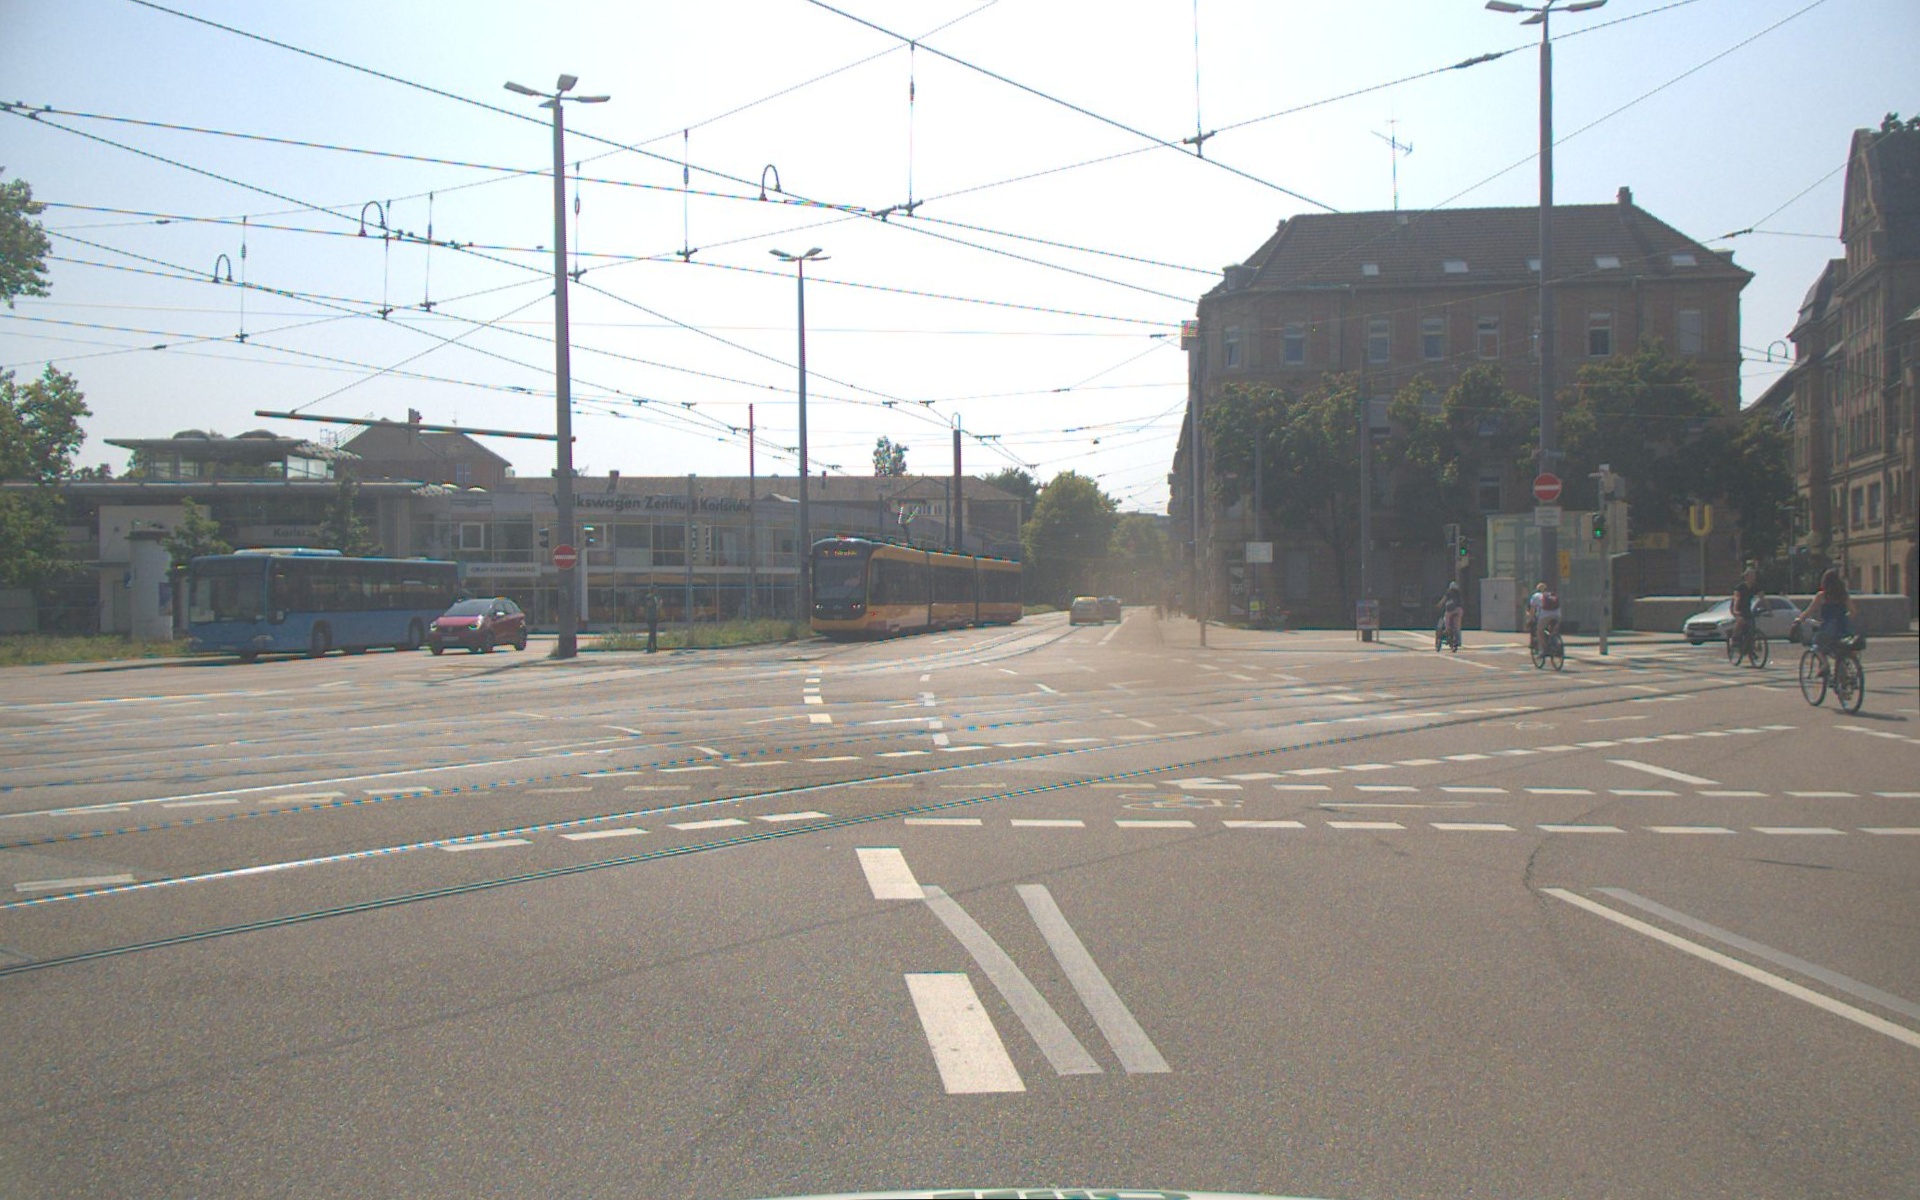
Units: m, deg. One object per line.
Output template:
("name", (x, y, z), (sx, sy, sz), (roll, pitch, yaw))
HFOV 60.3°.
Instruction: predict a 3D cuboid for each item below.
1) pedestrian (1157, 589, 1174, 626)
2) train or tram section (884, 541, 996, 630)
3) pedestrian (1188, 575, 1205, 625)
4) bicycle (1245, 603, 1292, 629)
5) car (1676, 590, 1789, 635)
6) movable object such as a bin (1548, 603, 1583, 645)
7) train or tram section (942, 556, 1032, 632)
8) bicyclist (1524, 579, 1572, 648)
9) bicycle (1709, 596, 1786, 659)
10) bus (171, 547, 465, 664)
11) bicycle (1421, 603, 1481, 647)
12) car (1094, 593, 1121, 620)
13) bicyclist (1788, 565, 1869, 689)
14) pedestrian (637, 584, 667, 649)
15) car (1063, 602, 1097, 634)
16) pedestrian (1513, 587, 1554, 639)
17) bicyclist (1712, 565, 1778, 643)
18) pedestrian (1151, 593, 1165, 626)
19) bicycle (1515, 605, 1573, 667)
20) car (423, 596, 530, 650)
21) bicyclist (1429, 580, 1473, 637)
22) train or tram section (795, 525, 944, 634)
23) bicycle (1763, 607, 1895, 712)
("pedestrian", (11.676, 0.438, 94.034), (0.822, 2.049, 0.810), (1, -1, -1))
("train or tram section", (-0.677, -0.486, 73.778), (2.532, 3.623, 12.227), (1, -1, 11))
("pedestrian", (9.867, -0.008, 68.946), (0.635, 2.049, 0.704), (-1, 0, 3))
("bicycle", (12.091, 0.623, 64.840), (1.746, 0.974, 0.462), (-1, 0, 1))
("car", (23.467, 0.393, 50.197), (3.686, 1.311, 1.567), (2, -1, -37))
("movable object such as a bin", (16.048, 0.633, 43.851), (0.800, 1.104, 1.039), (0, -1, 16))
("train or tram section", (1.562, -0.199, 85.289), (2.532, 3.623, 12.227), (1, -1, 11))
("bicyclist", (11.038, 0.253, 31.071), (0.643, 1.276, 0.644), (-1, 0, -3))
("bicycle", (14.907, 0.522, 31.356), (0.461, 1.146, 1.956), (1, -1, -3))
("bus", (-19.104, 0.149, 50.523), (2.667, 3.118, 12.092), (0, 0, 9))
("bicycle", (11.748, 0.591, 39.638), (0.631, 1.016, 2.374), (-1, 0, -3))
("car", (8.552, 0.343, 96.294), (1.478, 1.537, 3.625), (-1, 0, 4))
("bicyclist", (10.742, 0.325, 20.470), (0.643, 1.507, 0.644), (-1, 0, -3))
("pedestrian", (-8.276, 0.430, 44.476), (0.787, 1.717, 0.717), (-1, 0, -11))
("car", (6.312, 0.966, 87.172), (1.696, 1.601, 3.613), (1, -1, 3))
("pedestrian", (15.596, 0.345, 44.980), (0.706, 1.375, 0.812), (0, 0, -17))
("bicyclist", (14.903, 0.078, 31.408), (0.785, 1.448, 0.930), (1, -1, -2))
("pedestrian", (12.699, 0.618, 106.212), (0.775, 2.049, 0.810), (1, -1, -1))
("bicycle", (11.009, 0.671, 31.218), (0.431, 1.131, 1.642), (-1, 0, -3))
("car", (-13.996, 0.634, 48.050), (1.590, 1.497, 3.775), (-1, 0, 7))
("bicyclist", (11.750, 0.191, 39.622), (0.732, 1.343, 0.921), (-1, 0, -3))
("train or tram section", (-3.094, -0.597, 61.264), (2.532, 3.623, 12.227), (1, -1, 11))
("bicycle", (10.760, 0.706, 20.566), (0.431, 1.130, 2.128), (-1, 3, -3))
